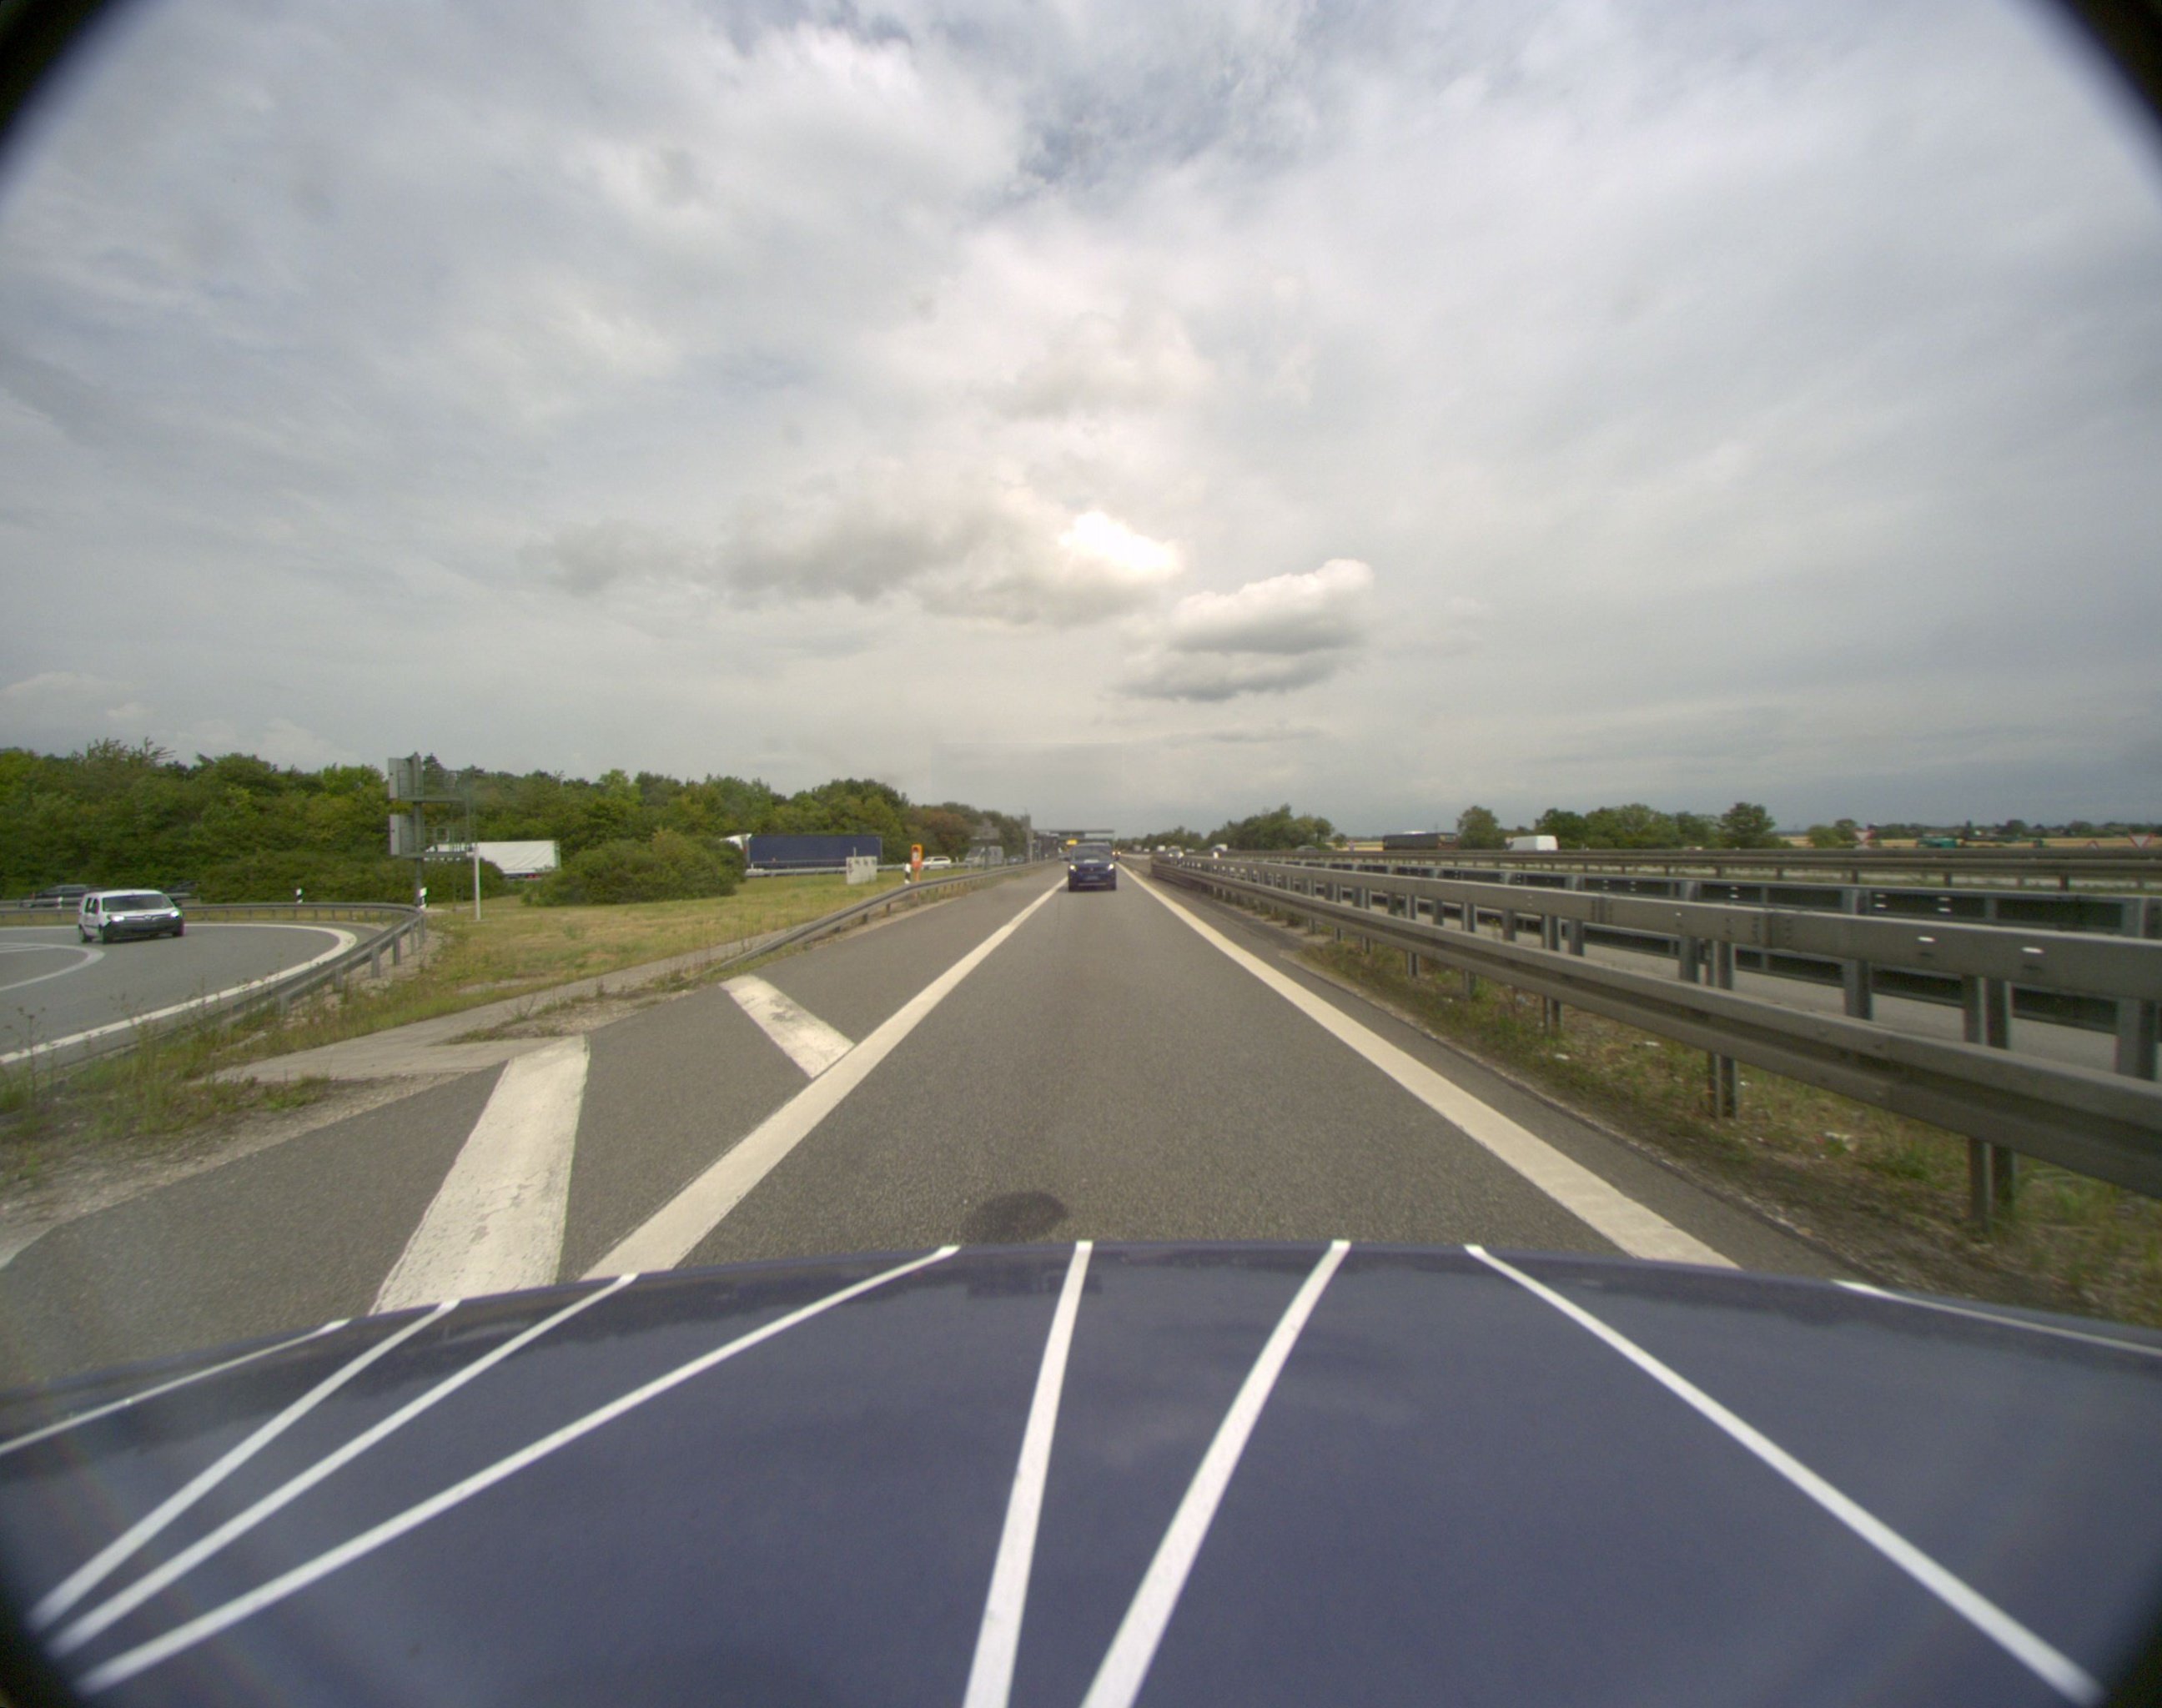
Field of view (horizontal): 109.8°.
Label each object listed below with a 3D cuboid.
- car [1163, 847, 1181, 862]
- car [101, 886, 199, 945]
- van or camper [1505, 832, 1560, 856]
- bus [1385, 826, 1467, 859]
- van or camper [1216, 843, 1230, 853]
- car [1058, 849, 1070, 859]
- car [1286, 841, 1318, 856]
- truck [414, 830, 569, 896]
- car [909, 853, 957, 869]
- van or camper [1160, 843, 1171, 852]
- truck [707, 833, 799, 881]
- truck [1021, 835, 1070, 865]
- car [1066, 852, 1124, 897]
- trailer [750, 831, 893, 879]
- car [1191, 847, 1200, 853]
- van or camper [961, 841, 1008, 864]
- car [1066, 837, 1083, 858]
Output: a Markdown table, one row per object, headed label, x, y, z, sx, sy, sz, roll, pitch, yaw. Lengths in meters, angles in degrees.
| label | x | y | z | sx | sy | sz | roll | pitch | yaw |
| --- | --- | --- | --- | --- | --- | --- | --- | --- | --- |
| car | 11.703 | 0.051 | 97.488 | 1.799 | 1.871 | 3.999 | -3 | 1 | 1 |
| car | -33.109 | 2.125 | 27.137 | 3.989 | 1.740 | 1.803 | -2 | 3 | 43 |
| van or camper | 40.828 | -0.915 | 68.851 | 1.999 | 2.002 | 4.882 | -2 | 1 | -2 |
| bus | 40.411 | -1.302 | 89.693 | 3.222 | 3.423 | 12.987 | -2 | 1 | -3 |
| van or camper | 34.654 | -1.460 | 185.527 | 2.193 | 2.159 | 5.808 | -2 | 0 | -2 |
| car | -2.706 | 0.007 | 119.574 | 1.866 | 1.434 | 3.999 | -2 | 1 | -2 |
| car | 23.399 | -0.601 | 80.483 | 1.999 | 1.460 | 4.139 | -2 | 1 | -2 |
| truck | -46.407 | 0.618 | 60.287 | 9.002 | 4.589 | 3.276 | -3 | 1 | -28 |
| car | -16.054 | 0.773 | 82.742 | 2.207 | 1.493 | 4.796 | -1 | 1 | 38 |
| van or camper | 26.144 | -2.122 | 235.798 | 2.192 | 2.604 | 6.903 | -2 | 0 | -2 |
| truck | -30.141 | 0.215 | 70.037 | 3.361 | 4.071 | 6.802 | -1 | 1 | 44 |
| truck | -4.866 | -0.665 | 107.784 | 3.020 | 3.931 | 10.353 | -2 | 1 | 20 |
| car | 0.430 | 0.693 | 27.537 | 1.866 | 1.434 | 3.999 | -2 | 1 | -2 |
| trailer | -25.310 | -0.001 | 74.985 | 3.332 | 4.169 | 13.057 | -1 | 1 | 45 |
| car | 26.656 | -0.920 | 177.579 | 1.527 | 1.455 | 4.000 | -2 | 1 | 1 |
| van or camper | -11.324 | -0.203 | 89.939 | 2.295 | 2.553 | 6.171 | -1 | 1 | 28 |
| car | -1.432 | -1.557 | 172.595 | 3.394 | 4.458 | 11.606 | -2 | 1 | 1 |
